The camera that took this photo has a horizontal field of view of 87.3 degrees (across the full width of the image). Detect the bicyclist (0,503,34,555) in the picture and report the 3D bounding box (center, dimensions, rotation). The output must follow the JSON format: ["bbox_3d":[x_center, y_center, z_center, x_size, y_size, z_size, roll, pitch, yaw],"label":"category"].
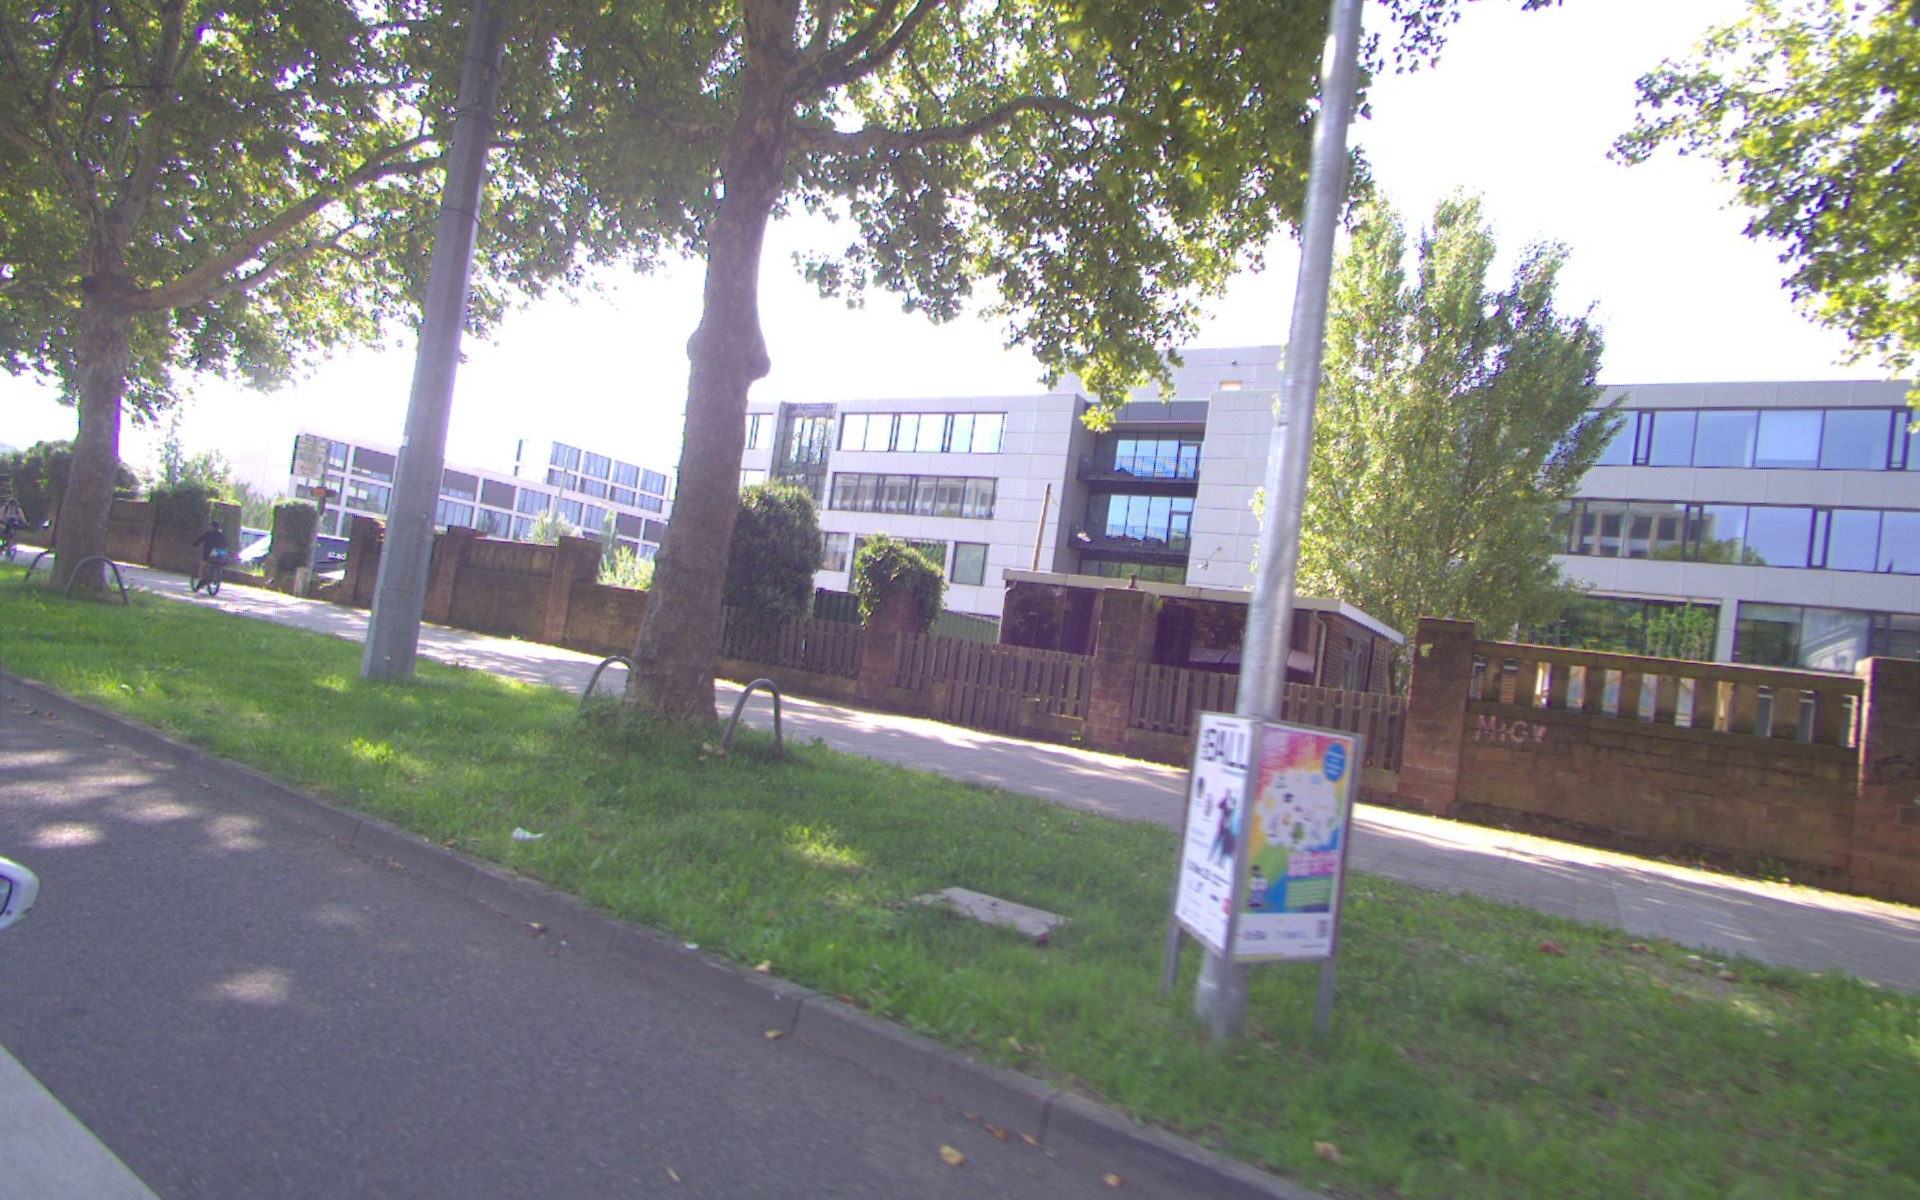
[{"bbox_3d":[-25.574,-1.929,27.061,0.716,1.291,0.671,7,-1,31],"label":"bicyclist"}]

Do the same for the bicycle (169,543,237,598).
[{"bbox_3d":[-18.468,-0.730,24.527,1.825,1.101,0.492,7,-2,29],"label":"bicycle"}]

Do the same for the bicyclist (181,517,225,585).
[{"bbox_3d":[-18.498,-1.189,24.585,0.586,1.557,0.470,7,-2,29],"label":"bicyclist"}]

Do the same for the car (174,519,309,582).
[{"bbox_3d":[-29.026,-1.970,40.774,1.535,1.863,4.013,7,-3,30],"label":"car"}]

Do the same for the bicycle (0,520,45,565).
[{"bbox_3d":[-25.480,-1.591,27.010,2.181,1.017,0.683,7,-2,31],"label":"bicycle"}]

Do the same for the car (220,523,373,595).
[{"bbox_3d":[-24.223,-1.468,36.903,1.535,1.914,4.285,7,-3,30],"label":"car"}]

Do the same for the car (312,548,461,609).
[{"bbox_3d":[-19.024,-0.676,33.542,1.478,1.419,3.998,7,-3,30],"label":"car"}]
